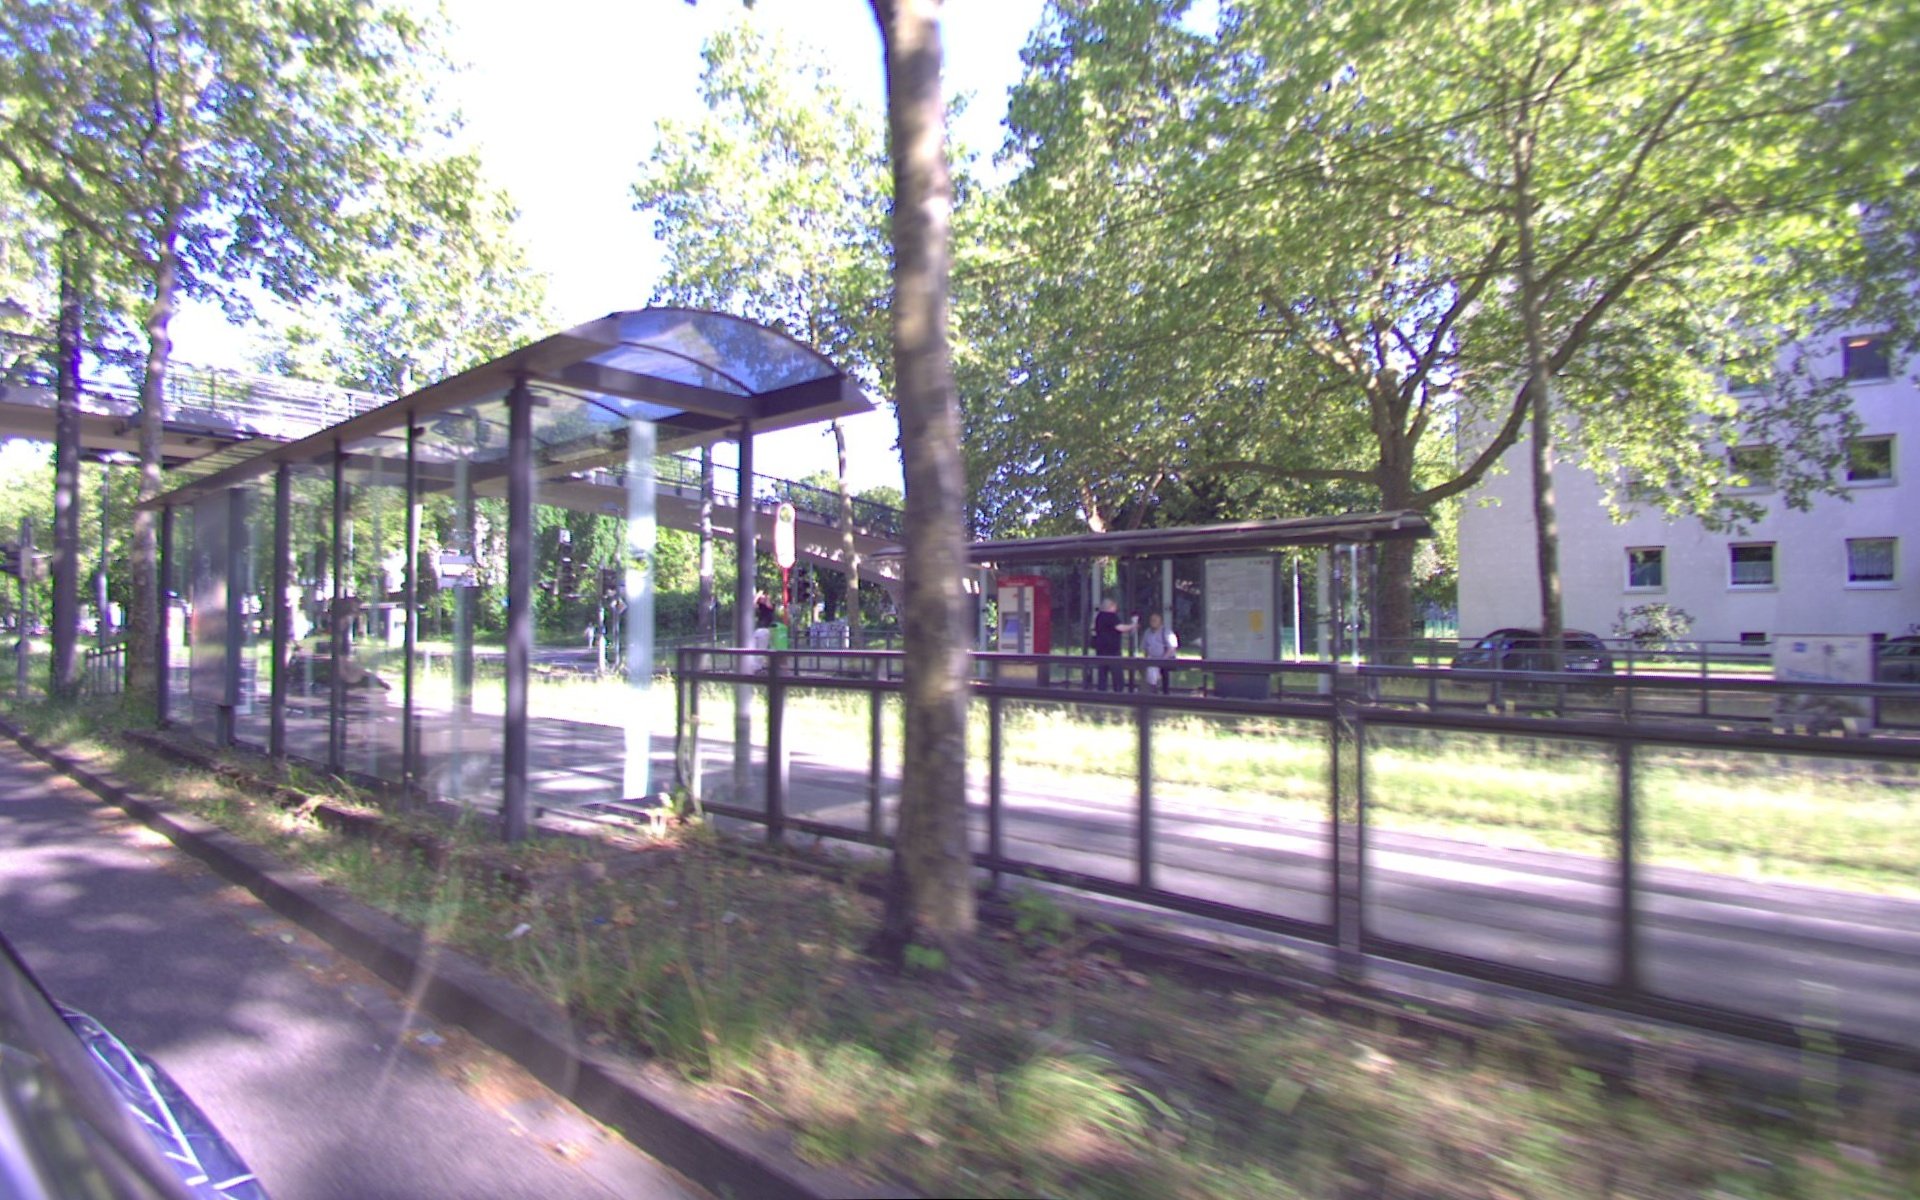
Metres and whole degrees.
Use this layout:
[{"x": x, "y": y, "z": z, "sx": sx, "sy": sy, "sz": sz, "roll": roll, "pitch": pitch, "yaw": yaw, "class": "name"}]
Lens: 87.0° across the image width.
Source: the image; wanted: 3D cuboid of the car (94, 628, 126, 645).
[{"x": -83.907, "y": 3.587, "z": 99.924, "sx": 3.814, "sy": 1.507, "sz": 1.732, "roll": -1, "pitch": 2, "yaw": 40, "class": "car"}]

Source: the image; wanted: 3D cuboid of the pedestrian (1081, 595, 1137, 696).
[{"x": 2.305, "y": 0.700, "z": 15.638, "sx": 0.681, "sy": 1.525, "sz": 0.638, "roll": -1, "pitch": -3, "yaw": 29, "class": "pedestrian"}]

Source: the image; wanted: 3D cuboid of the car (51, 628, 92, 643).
[{"x": -99.871, "y": 3.967, "z": 113.813, "sx": 1.857, "sy": 1.579, "sz": 4.011, "roll": -1, "pitch": 0, "yaw": -14, "class": "car"}]

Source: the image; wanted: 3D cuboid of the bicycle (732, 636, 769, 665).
[{"x": -7.788, "y": 1.866, "z": 37.619, "sx": 1.685, "sy": 1.016, "sz": 0.429, "roll": -2, "pitch": -1, "yaw": 41, "class": "bicycle"}]

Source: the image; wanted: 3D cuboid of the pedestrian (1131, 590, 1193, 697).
[{"x": 3.193, "y": 0.681, "z": 15.985, "sx": 0.715, "sy": 1.647, "sz": 0.722, "roll": -1, "pitch": -3, "yaw": 39, "class": "pedestrian"}]

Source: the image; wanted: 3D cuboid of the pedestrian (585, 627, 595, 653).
[{"x": -21.860, "y": 2.377, "z": 59.798, "sx": 0.526, "sy": 1.502, "sz": 0.589, "roll": 0, "pitch": 0, "yaw": -24, "class": "pedestrian"}]

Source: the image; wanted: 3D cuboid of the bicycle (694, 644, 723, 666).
[{"x": -9.170, "y": 2.000, "z": 36.945, "sx": 1.173, "sy": 0.784, "sz": 0.429, "roll": -2, "pitch": -1, "yaw": 41, "class": "bicycle"}]

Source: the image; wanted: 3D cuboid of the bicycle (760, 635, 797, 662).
[{"x": -7.088, "y": 1.865, "z": 39.438, "sx": 1.685, "sy": 1.016, "sz": 0.429, "roll": -2, "pitch": -1, "yaw": 41, "class": "bicycle"}]

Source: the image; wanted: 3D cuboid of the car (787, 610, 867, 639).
[{"x": -9.389, "y": 1.723, "z": 72.018, "sx": 2.220, "sy": 1.963, "sz": 6.080, "roll": -1, "pitch": -1, "yaw": 35, "class": "car"}]

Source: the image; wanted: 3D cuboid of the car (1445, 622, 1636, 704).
[{"x": 12.046, "y": 1.249, "z": 21.349, "sx": 1.677, "sy": 1.439, "sz": 4.197, "roll": -2, "pitch": -1, "yaw": 2, "class": "car"}]

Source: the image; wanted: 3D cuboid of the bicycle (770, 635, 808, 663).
[{"x": -6.501, "y": 1.853, "z": 38.382, "sx": 1.685, "sy": 1.016, "sz": 0.429, "roll": -2, "pitch": -1, "yaw": 41, "class": "bicycle"}]

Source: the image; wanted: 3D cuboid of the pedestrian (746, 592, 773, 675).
[{"x": -4.387, "y": 0.725, "z": 22.125, "sx": 0.477, "sy": 1.784, "sz": 0.503, "roll": -1, "pitch": 0, "yaw": 1, "class": "pedestrian"}]

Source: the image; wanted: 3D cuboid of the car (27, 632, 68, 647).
[{"x": -106.694, "y": 4.651, "z": 118.371, "sx": 1.857, "sy": 1.579, "sz": 4.011, "roll": -1, "pitch": 0, "yaw": -14, "class": "car"}]

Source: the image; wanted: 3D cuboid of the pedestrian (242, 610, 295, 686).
[{"x": -15.878, "y": 1.091, "z": 23.230, "sx": 1.047, "sy": 1.687, "sz": 0.718, "roll": -1, "pitch": -1, "yaw": 38, "class": "pedestrian"}]

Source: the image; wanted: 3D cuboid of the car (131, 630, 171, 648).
[{"x": -71.979, "y": 3.448, "z": 90.035, "sx": 4.173, "sy": 1.499, "sz": 1.821, "roll": -2, "pitch": 2, "yaw": 38, "class": "car"}]

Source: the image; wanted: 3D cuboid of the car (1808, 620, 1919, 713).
[{"x": 16.624, "y": 1.107, "z": 16.751, "sx": 1.677, "sy": 1.439, "sz": 4.197, "roll": -2, "pitch": -1, "yaw": 2, "class": "car"}]

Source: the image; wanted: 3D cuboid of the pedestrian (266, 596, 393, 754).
[{"x": -5.331, "y": 0.612, "z": 8.571, "sx": 0.586, "sy": 1.262, "sz": 0.727, "roll": -1, "pitch": -2, "yaw": 35, "class": "pedestrian"}]

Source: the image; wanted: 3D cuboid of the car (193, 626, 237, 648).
[{"x": -58.085, "y": 2.859, "z": 78.840, "sx": 4.186, "sy": 1.608, "sz": 1.797, "roll": -1, "pitch": 2, "yaw": 40, "class": "car"}]

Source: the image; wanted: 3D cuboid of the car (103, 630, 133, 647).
[{"x": -80.033, "y": 3.624, "z": 96.228, "sx": 3.566, "sy": 1.499, "sz": 1.526, "roll": -2, "pitch": 1, "yaw": 40, "class": "car"}]

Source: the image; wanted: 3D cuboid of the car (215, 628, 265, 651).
[{"x": -53.165, "y": 2.865, "z": 74.720, "sx": 4.624, "sy": 1.499, "sz": 1.879, "roll": -1, "pitch": 2, "yaw": 40, "class": "car"}]

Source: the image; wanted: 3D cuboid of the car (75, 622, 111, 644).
[{"x": -89.149, "y": 3.403, "z": 104.056, "sx": 4.273, "sy": 2.072, "sz": 1.963, "roll": -1, "pitch": 2, "yaw": 39, "class": "car"}]

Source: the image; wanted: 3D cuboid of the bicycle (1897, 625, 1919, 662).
[{"x": 25.317, "y": 1.075, "z": 25.365, "sx": 2.592, "sy": 0.935, "sz": 0.688, "roll": -3, "pitch": -2, "yaw": 38, "class": "bicycle"}]
